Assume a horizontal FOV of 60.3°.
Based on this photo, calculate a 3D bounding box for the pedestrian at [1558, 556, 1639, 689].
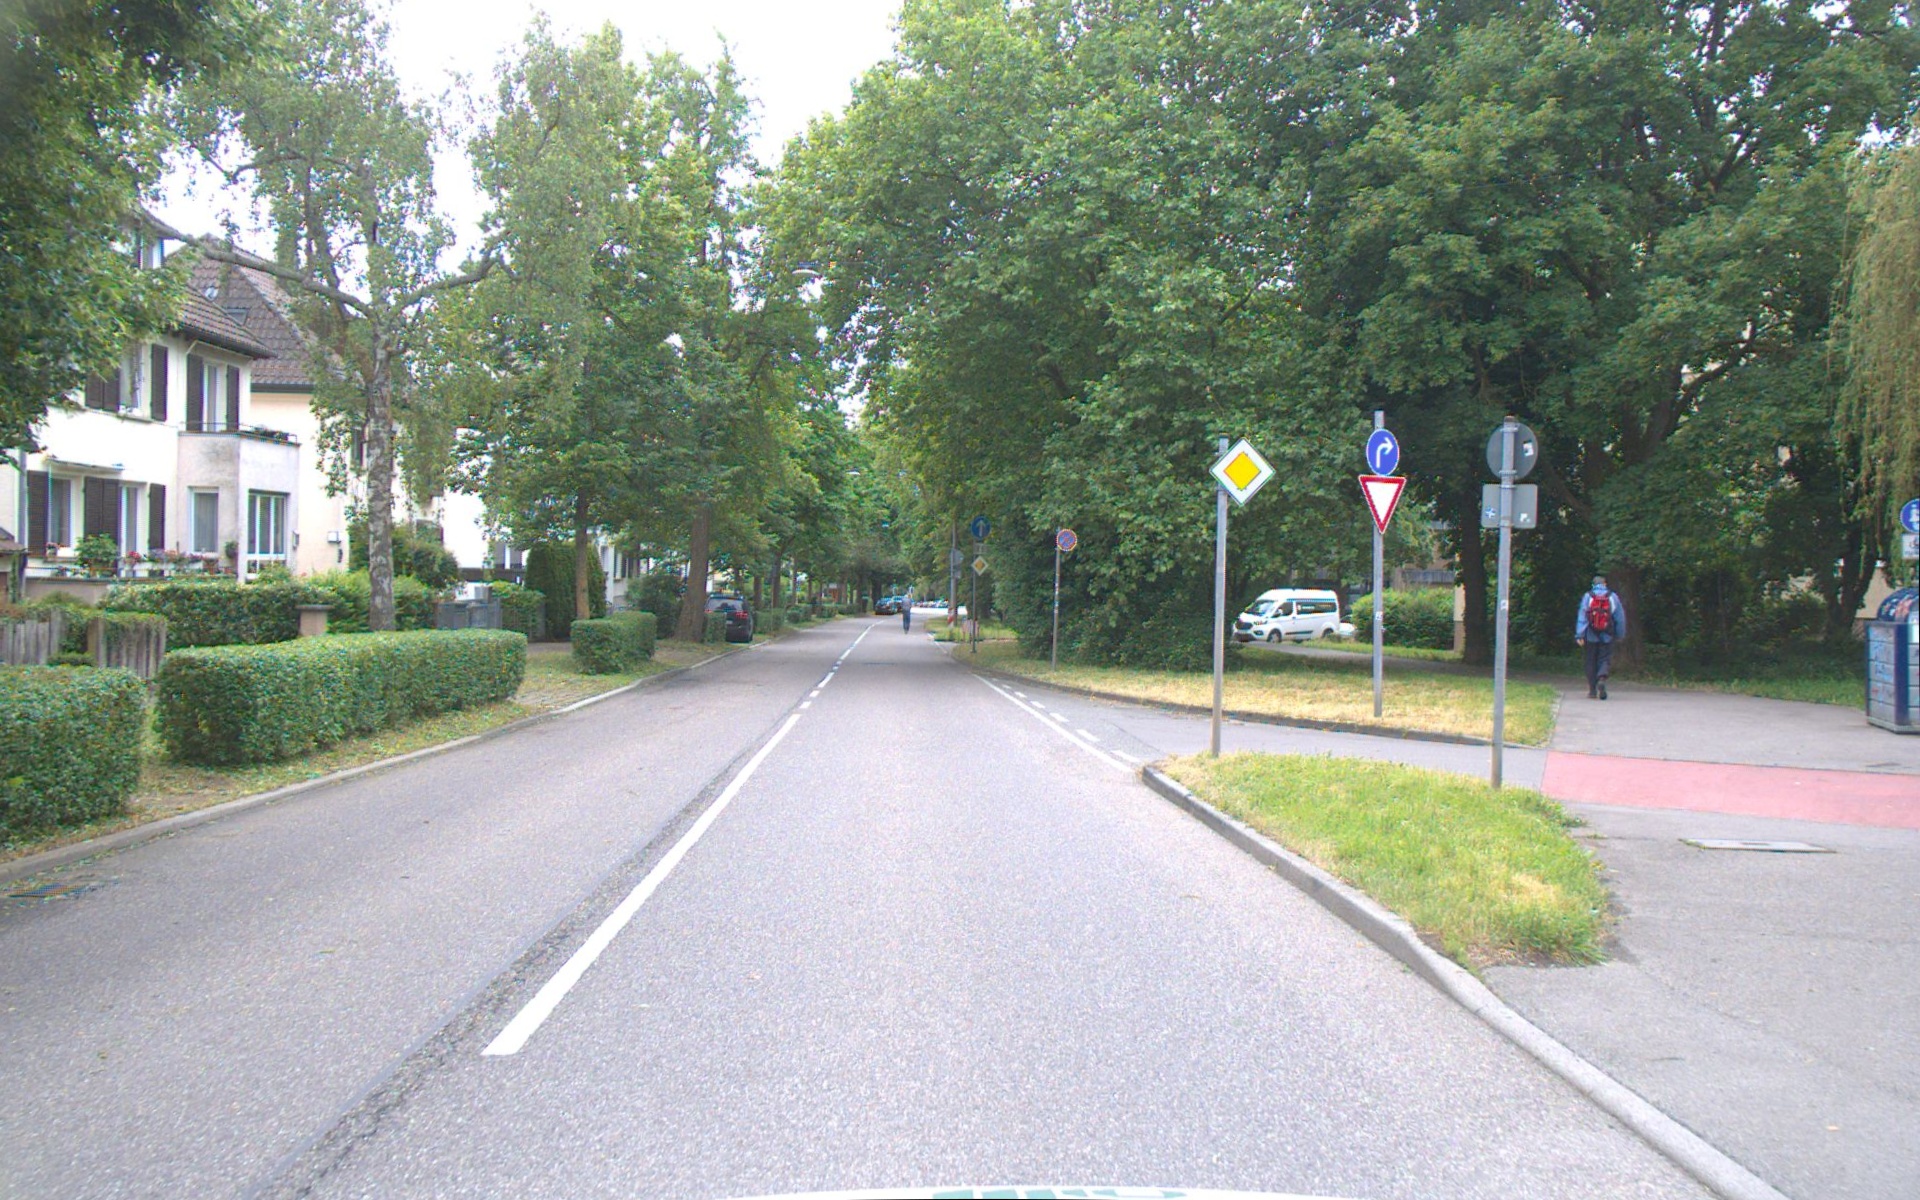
[{"bbox_3d":[9.661,0.325,25.060,0.904,1.903,1.020,-2,3,10],"label":"pedestrian"}]

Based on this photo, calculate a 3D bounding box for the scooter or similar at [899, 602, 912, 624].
[{"bbox_3d":[-2.679,0.633,81.706,0.588,1.073,0.873,0,2,0],"label":"scooter or similar"}]

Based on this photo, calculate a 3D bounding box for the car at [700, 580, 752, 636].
[{"bbox_3d":[-8.389,0.253,59.502,1.611,1.754,3.796,3,2,-6],"label":"car"}]

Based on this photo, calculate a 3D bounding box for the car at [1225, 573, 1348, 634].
[{"bbox_3d":[14.065,0.166,71.164,5.329,2.336,2.110,2,3,-38],"label":"car"}]

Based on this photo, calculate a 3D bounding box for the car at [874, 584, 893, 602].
[{"bbox_3d":[-7.732,-0.739,167.252,1.798,1.524,3.655,4,2,-3],"label":"car"}]

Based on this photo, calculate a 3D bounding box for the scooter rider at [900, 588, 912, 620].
[{"bbox_3d":[-2.679,0.183,81.837,0.588,1.579,0.566,0,2,0],"label":"scooter rider"}]
